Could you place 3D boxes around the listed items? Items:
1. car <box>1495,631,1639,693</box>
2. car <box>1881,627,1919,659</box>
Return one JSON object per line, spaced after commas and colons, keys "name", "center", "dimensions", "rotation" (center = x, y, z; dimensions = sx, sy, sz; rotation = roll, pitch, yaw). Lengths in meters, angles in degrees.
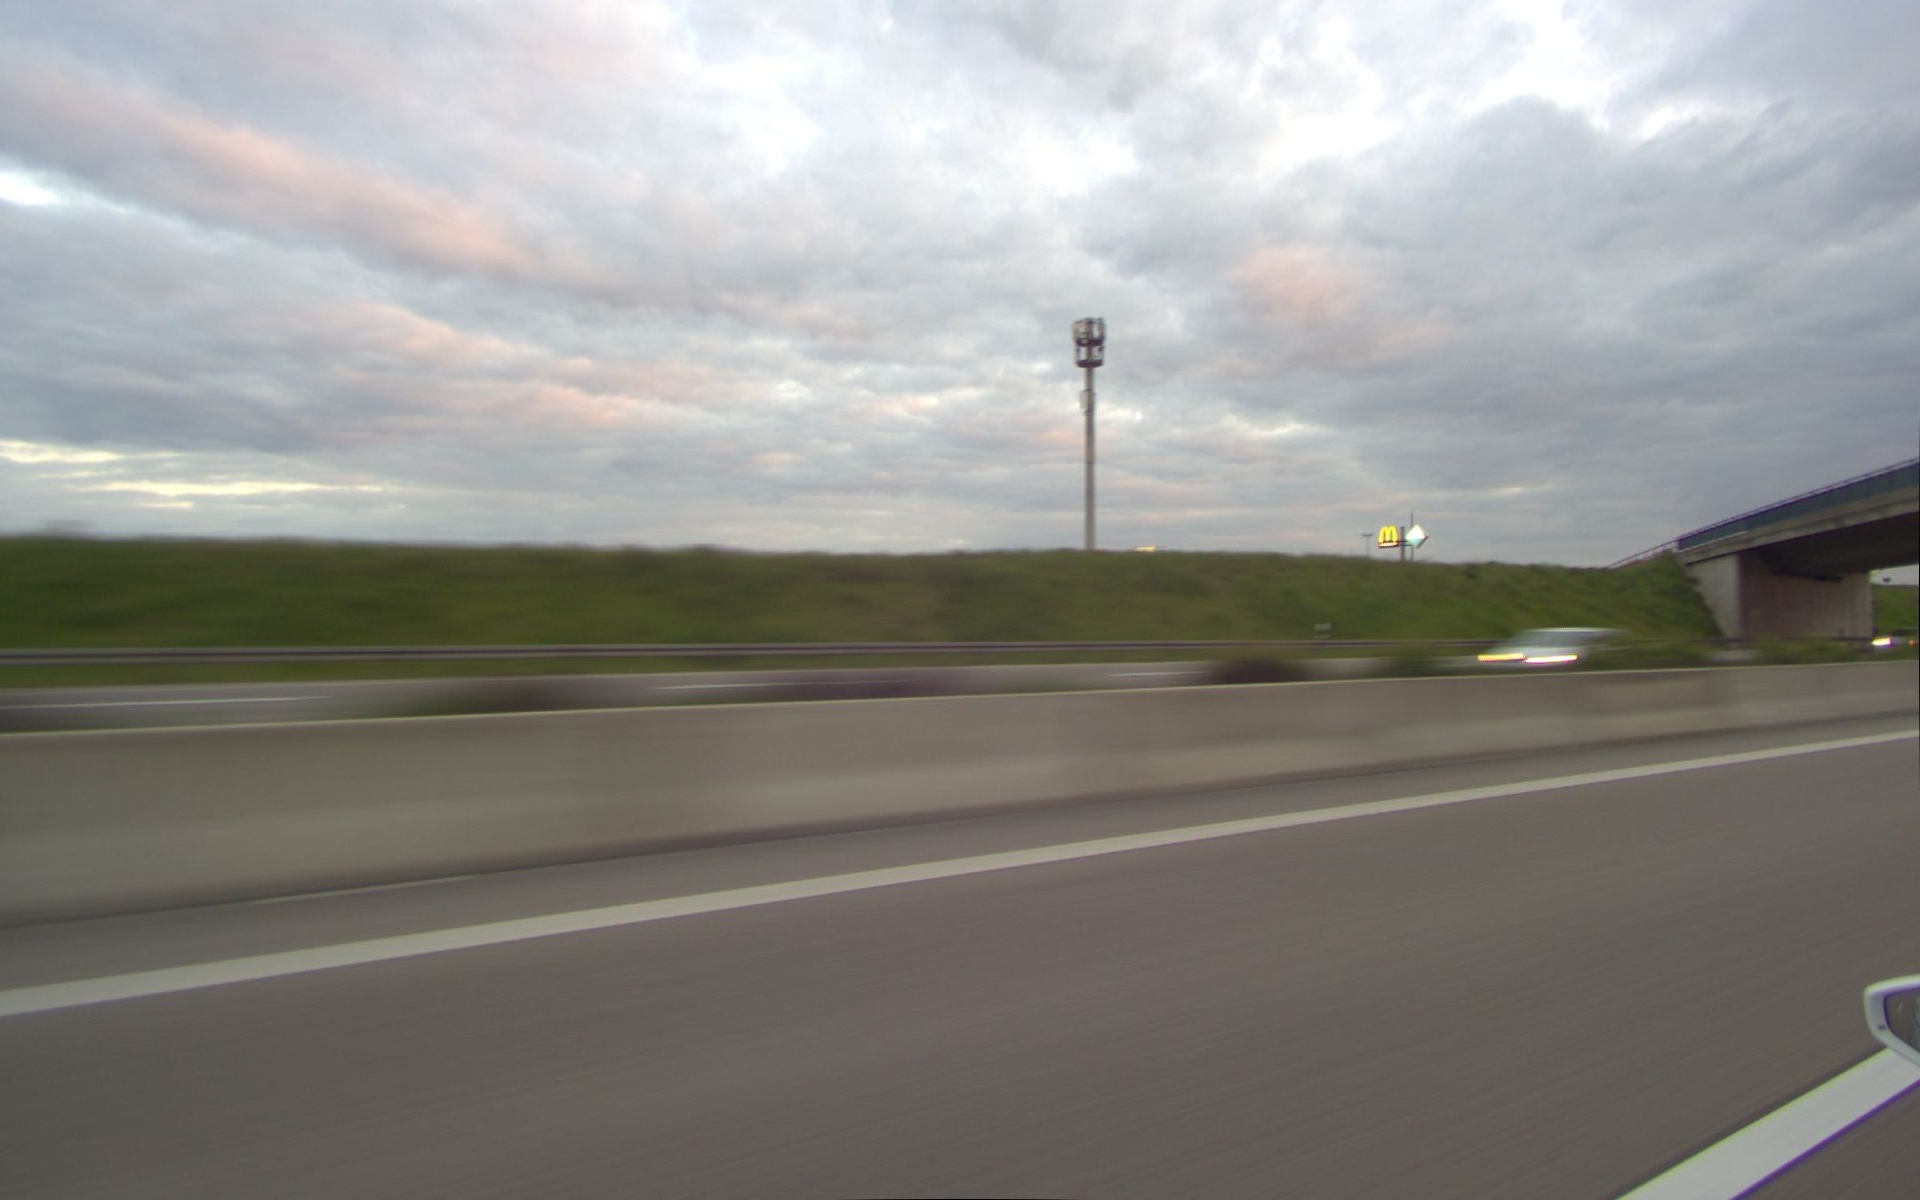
{"name": "car", "center": [16.332, 1.608, 26.965], "dimensions": [4.360, 1.526, 1.514], "rotation": [1, -1, -31]}
{"name": "car", "center": [47.408, 2.115, 49.868], "dimensions": [3.893, 1.490, 1.554], "rotation": [1, -1, -33]}
